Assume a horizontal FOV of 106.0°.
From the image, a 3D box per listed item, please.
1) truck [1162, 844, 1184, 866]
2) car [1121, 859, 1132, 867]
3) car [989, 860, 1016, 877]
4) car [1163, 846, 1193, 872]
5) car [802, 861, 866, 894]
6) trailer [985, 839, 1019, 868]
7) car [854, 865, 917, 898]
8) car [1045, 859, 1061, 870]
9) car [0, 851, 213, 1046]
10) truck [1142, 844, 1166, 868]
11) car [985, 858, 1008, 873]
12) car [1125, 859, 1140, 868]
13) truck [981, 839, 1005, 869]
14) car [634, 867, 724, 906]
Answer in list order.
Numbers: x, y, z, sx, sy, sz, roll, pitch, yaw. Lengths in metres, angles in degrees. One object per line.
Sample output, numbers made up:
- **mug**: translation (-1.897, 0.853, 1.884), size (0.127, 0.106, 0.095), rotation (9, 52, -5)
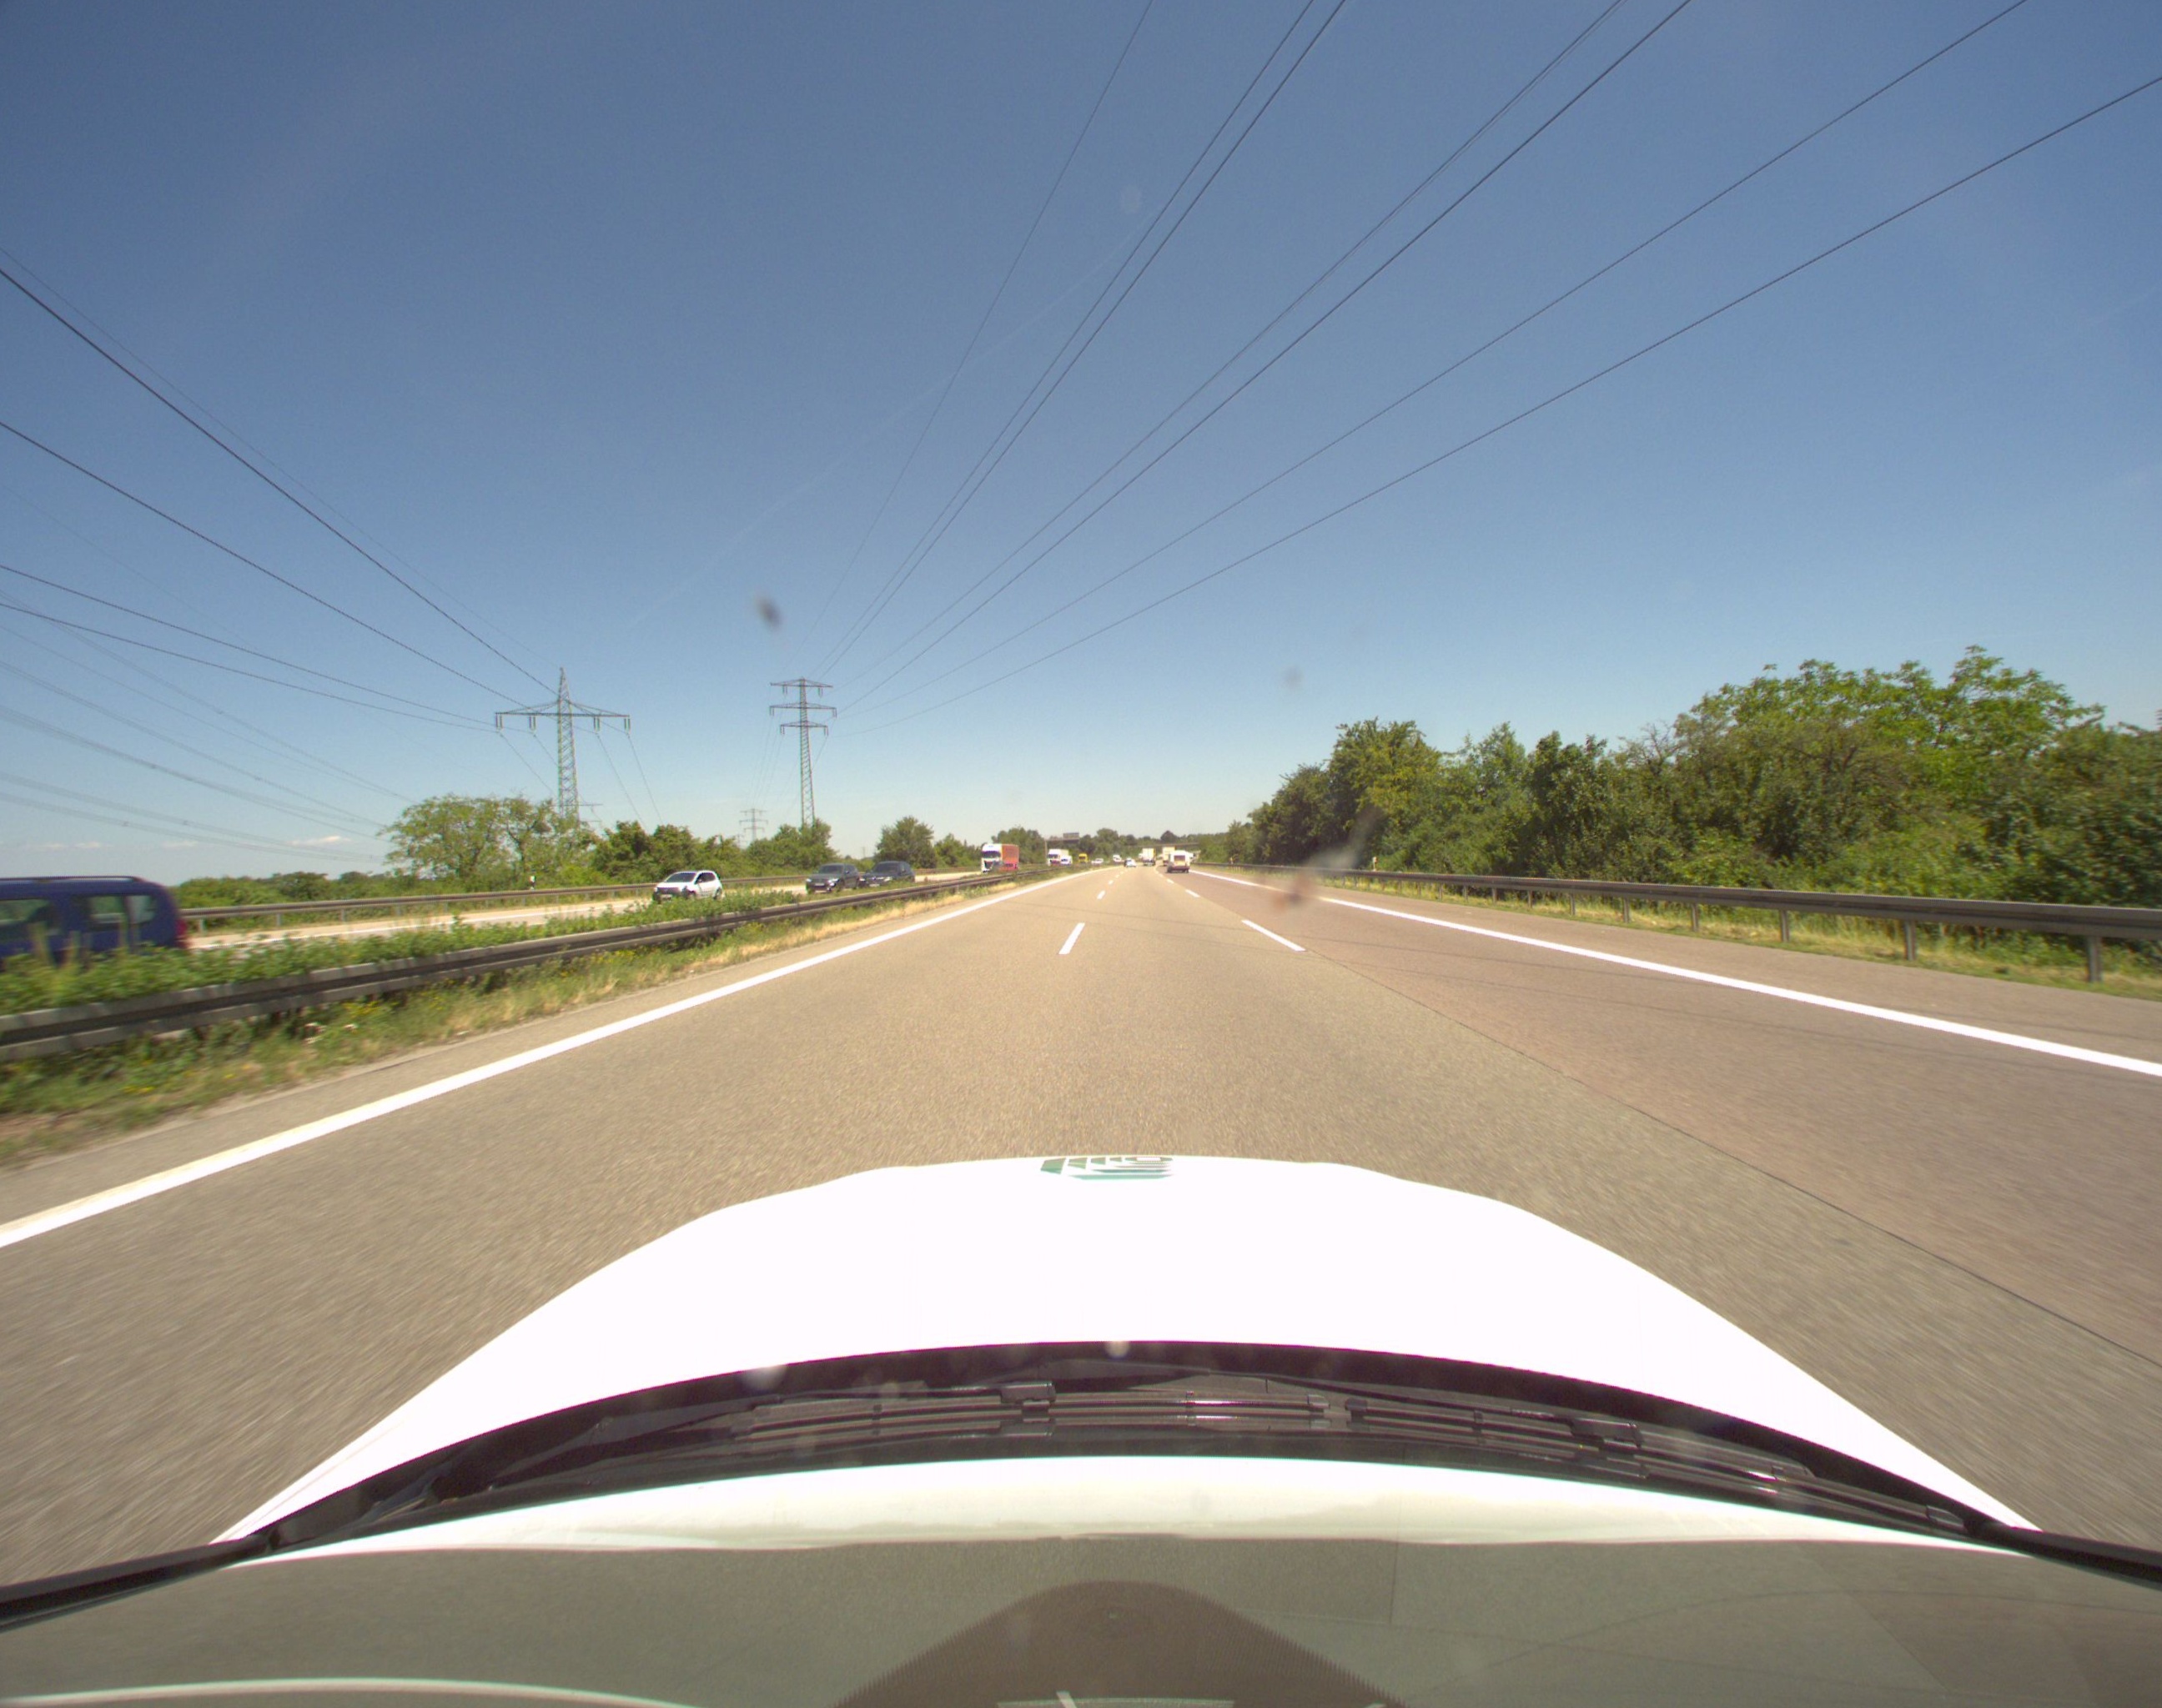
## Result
- **truck**: translation (19.943, 0.077, 176.141), size (3.160, 4.304, 16.071), rotation (-1, 1, 12)
- **car**: translation (9.772, 1.841, 173.530), size (1.816, 1.547, 4.333), rotation (0, 0, 11)
- **car**: translation (-7.367, 1.311, 76.696), size (1.896, 1.480, 3.963), rotation (-1, 0, 2)
- **car**: translation (9.546, 0.449, 80.568), size (2.434, 2.321, 5.323), rotation (-2, 1, 1)
- **car**: translation (-13.582, 1.252, 45.082), size (1.986, 1.617, 4.414), rotation (-1, 1, 2)
- **trailer**: translation (-11.807, -0.148, 123.107), size (2.495, 4.042, 13.605), rotation (-1, 1, 5)
- **car**: translation (-9.884, 1.363, 41.553), size (1.986, 1.435, 4.414), rotation (-1, 1, 2)
- **car**: translation (-4.127, 1.494, 121.120), size (1.986, 1.549, 4.450), rotation (-1, 0, 2)
- **car**: translation (-11.969, 0.975, 8.081), size (1.986, 1.974, 4.288), rotation (-1, 0, 2)
- **truck**: translation (16.782, 0.318, 186.520), size (3.642, 5.018, 16.069), rotation (-1, 1, 11)
- **car**: translation (-10.061, 1.365, 97.382), size (1.985, 1.673, 4.933), rotation (-1, 0, 2)
- **car**: translation (9.468, 1.781, 150.339), size (1.814, 1.547, 4.337), rotation (0, 0, 16)
- **truck**: translation (-12.468, -0.039, 115.597), size (2.470, 4.019, 4.608), rotation (-1, 1, 5)
- **car**: translation (-17.777, 1.395, 36.249), size (1.659, 1.532, 4.282), rotation (-1, 0, 2)
